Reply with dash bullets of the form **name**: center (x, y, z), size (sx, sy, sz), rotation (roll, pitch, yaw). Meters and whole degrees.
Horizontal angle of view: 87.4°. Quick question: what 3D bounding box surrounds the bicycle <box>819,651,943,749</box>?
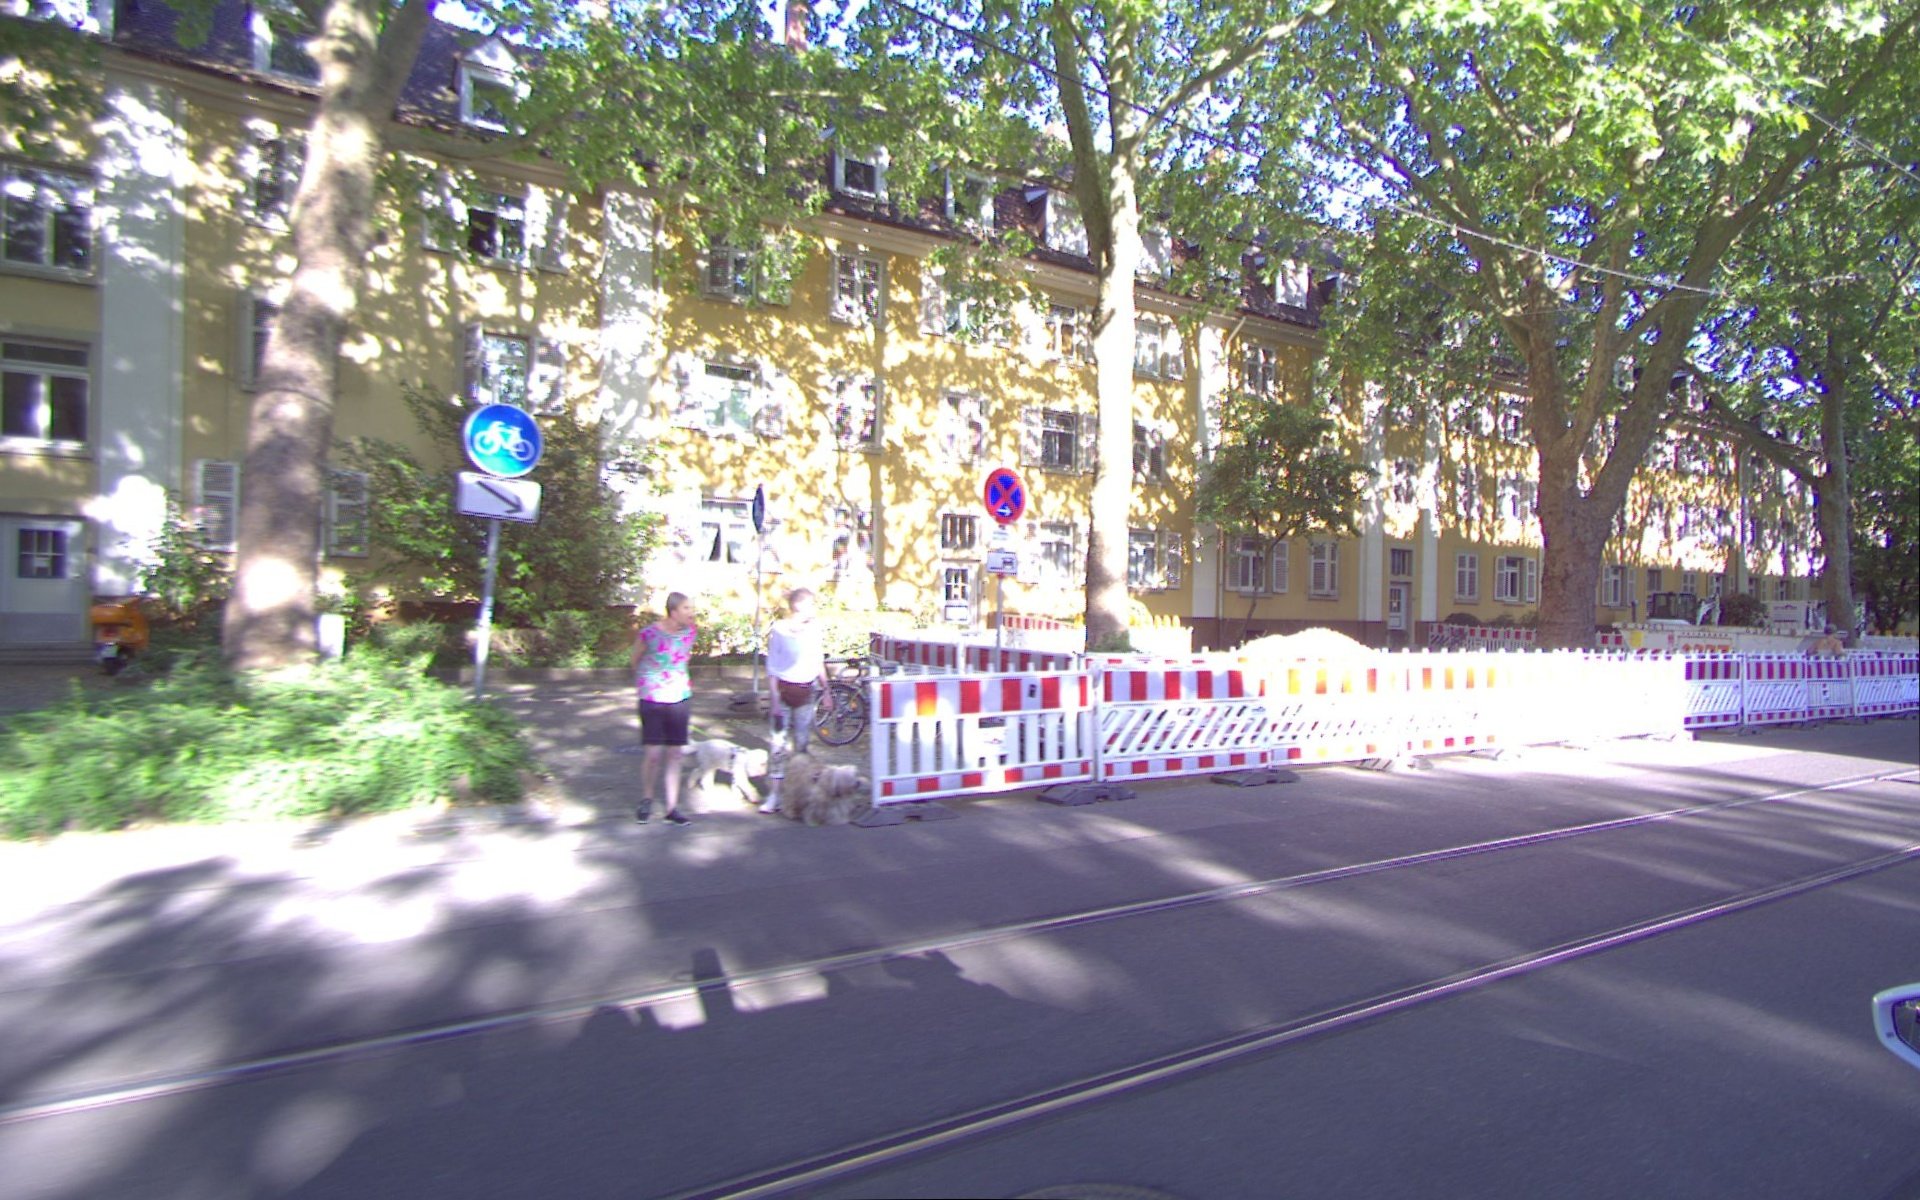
- **bicycle**: center (-0.983, 1.139, 11.992), size (0.717, 0.975, 1.963), rotation (1, 0, -29)

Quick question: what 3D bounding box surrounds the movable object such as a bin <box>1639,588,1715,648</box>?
- **movable object such as a bin**: center (23.675, 0.601, 33.168), size (1.984, 1.893, 1.327), rotation (2, 0, -31)

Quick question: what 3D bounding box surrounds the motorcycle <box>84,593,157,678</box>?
- **motorcycle**: center (-13.018, 0.523, 15.621), size (0.516, 1.257, 1.702), rotation (1, 0, -28)

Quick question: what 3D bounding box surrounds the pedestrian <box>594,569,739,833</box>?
- **pedestrian**: center (-2.135, 0.679, 7.279), size (0.787, 1.768, 0.818), rotation (2, 1, -30)

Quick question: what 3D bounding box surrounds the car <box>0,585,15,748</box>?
- **car**: center (-8.971, 0.595, 7.539), size (1.840, 1.517, 3.829), rotation (1, -1, -30)

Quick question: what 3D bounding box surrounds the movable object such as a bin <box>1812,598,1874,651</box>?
- **movable object such as a bin**: center (29.237, 0.818, 33.257), size (1.542, 1.667, 1.092), rotation (2, 0, -31)

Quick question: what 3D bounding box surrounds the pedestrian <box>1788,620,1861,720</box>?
- **pedestrian**: center (15.308, 1.229, 17.789), size (0.769, 1.691, 0.713), rotation (2, 1, -30)

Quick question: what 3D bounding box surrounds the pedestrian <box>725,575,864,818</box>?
- **pedestrian**: center (-1.307, 0.709, 7.860), size (0.787, 1.768, 0.818), rotation (2, 1, -30)

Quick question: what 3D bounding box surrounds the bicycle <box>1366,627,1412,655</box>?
- **bicycle**: center (13.440, 1.289, 31.452), size (1.627, 0.829, 0.503), rotation (2, 0, -35)
